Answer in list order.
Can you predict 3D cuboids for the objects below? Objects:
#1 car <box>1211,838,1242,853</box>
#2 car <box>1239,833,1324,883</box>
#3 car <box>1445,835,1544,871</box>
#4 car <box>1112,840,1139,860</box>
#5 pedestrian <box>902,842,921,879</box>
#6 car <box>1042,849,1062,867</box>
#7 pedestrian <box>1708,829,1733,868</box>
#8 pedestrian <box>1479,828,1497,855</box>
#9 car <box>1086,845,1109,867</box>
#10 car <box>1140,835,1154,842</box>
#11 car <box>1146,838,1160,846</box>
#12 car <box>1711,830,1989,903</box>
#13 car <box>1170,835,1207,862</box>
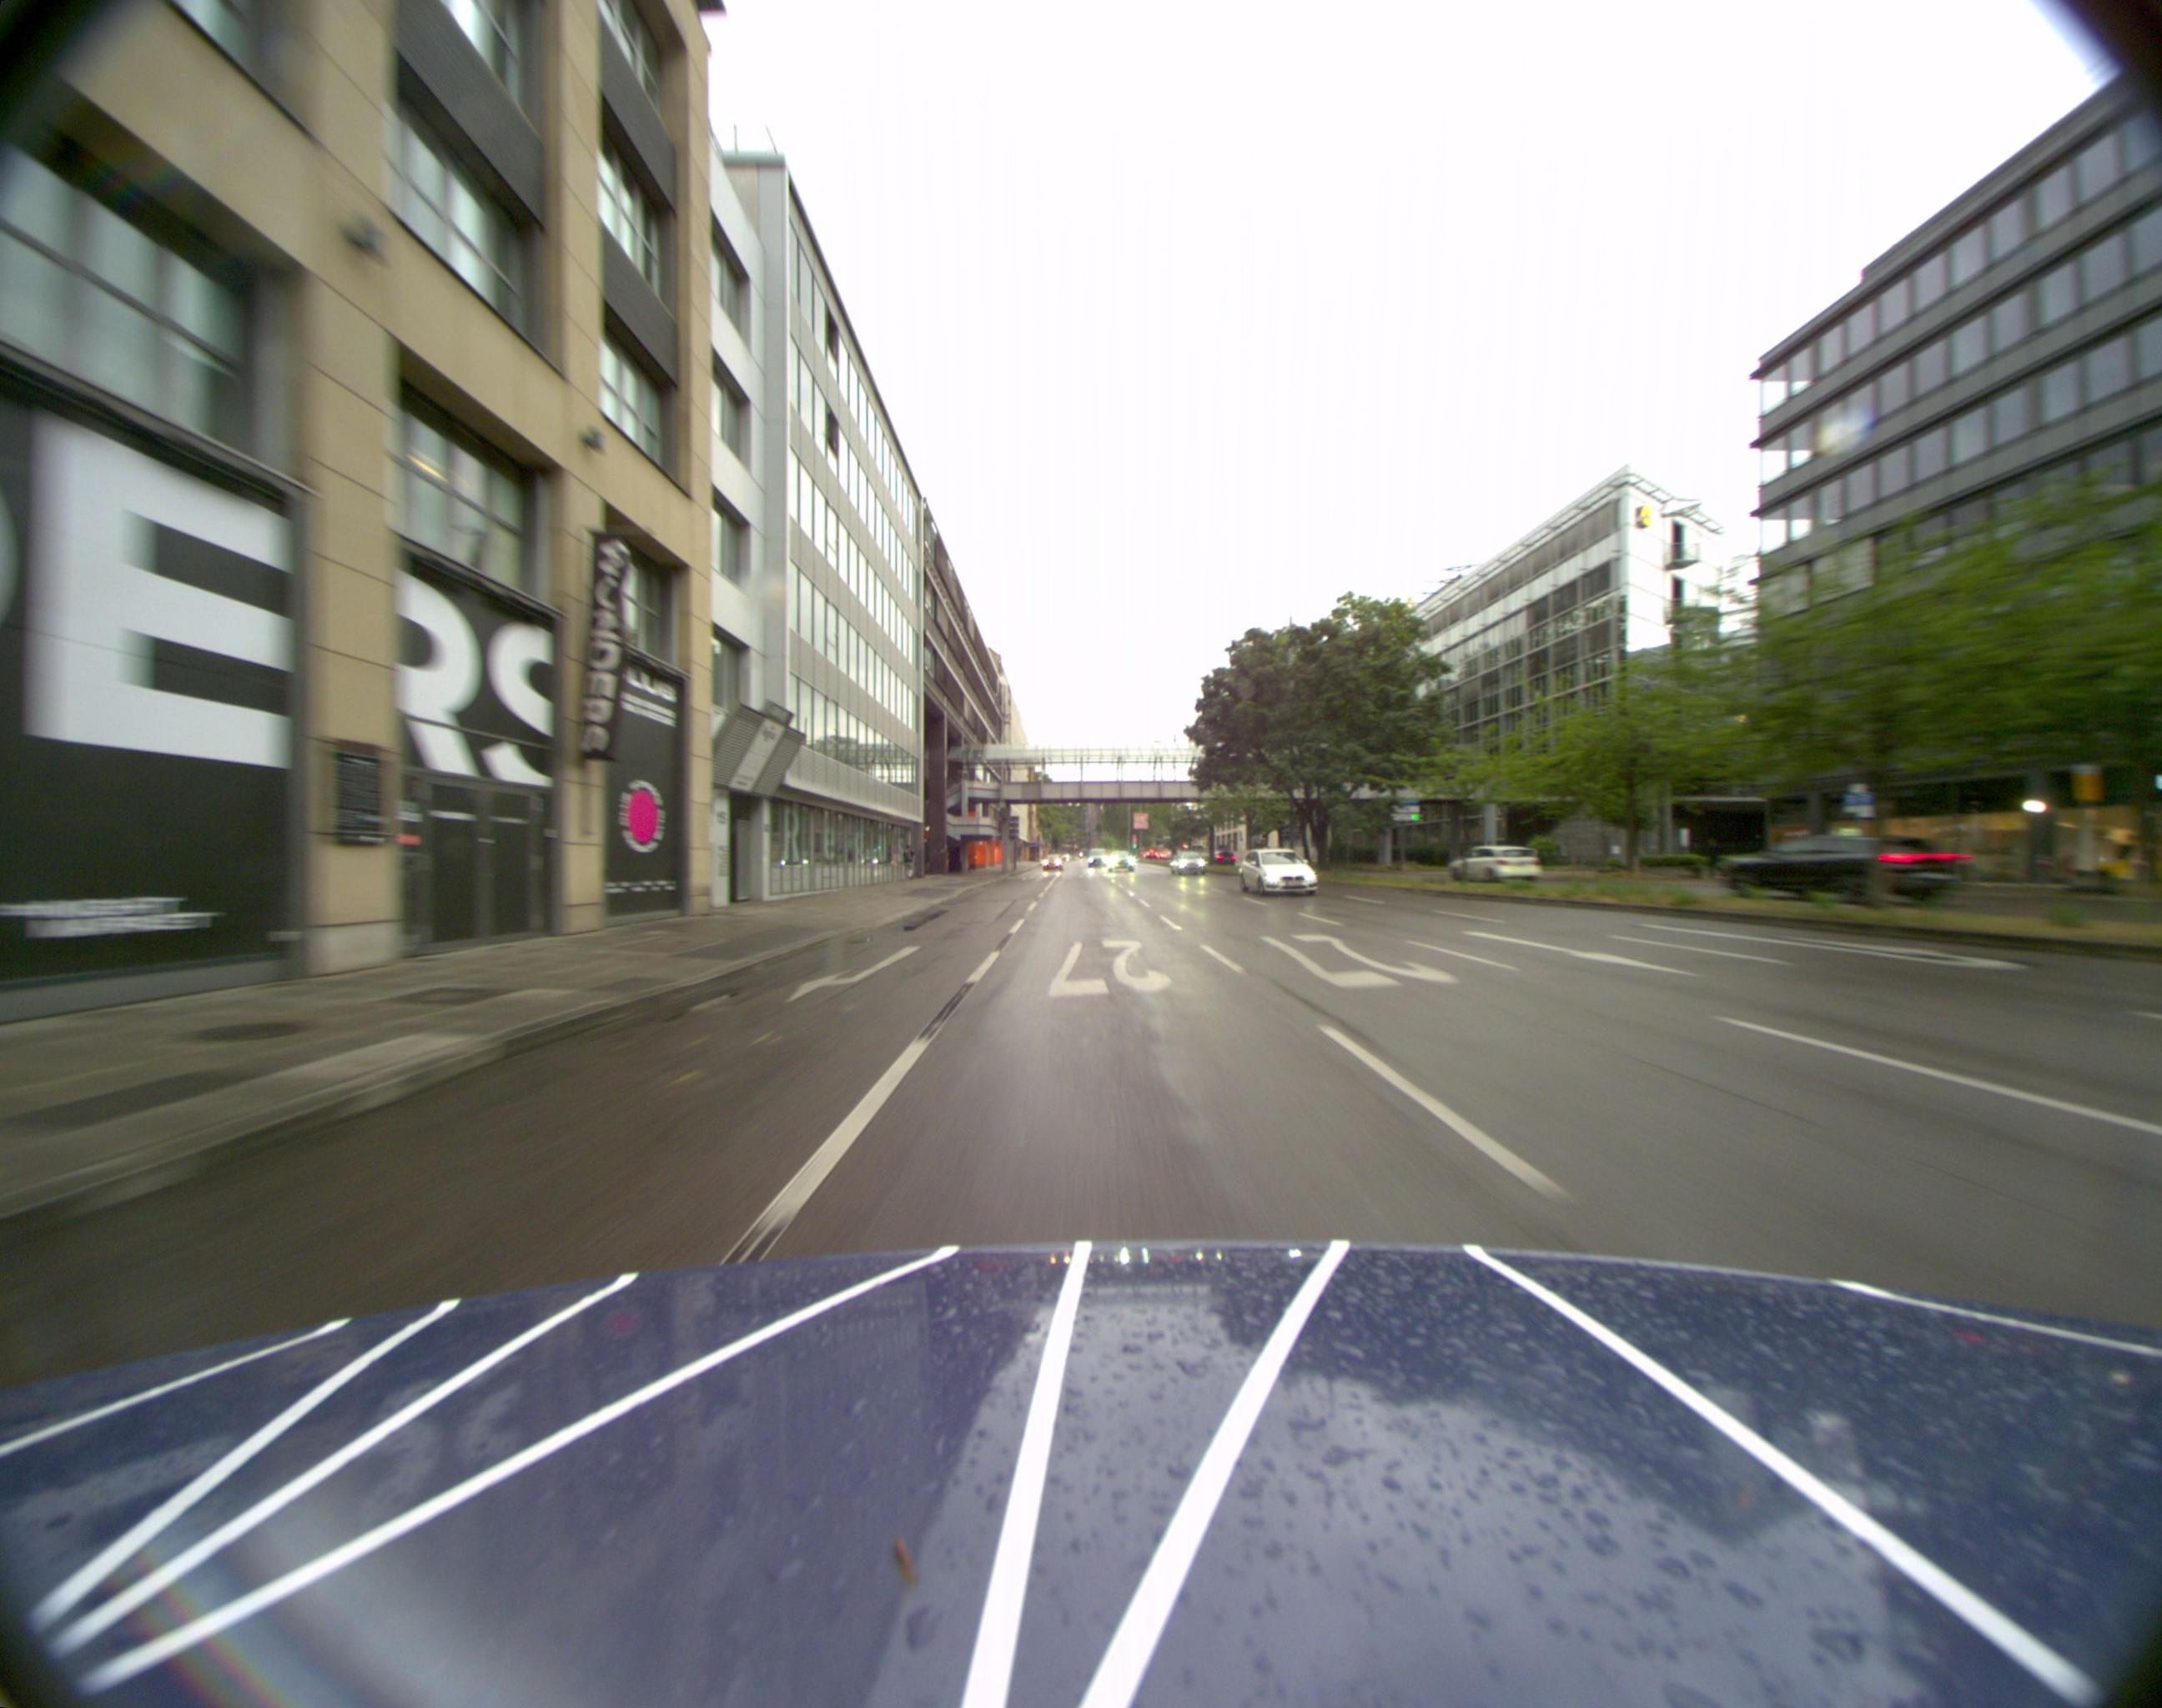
[{"bbox_3d":[12.994,-0.769,68.169,1.732,1.303,4.075,-1,1,-4],"label":"car"},{"bbox_3d":[6.824,0.088,26.298,1.788,1.565,4.286,-1,1,-1],"label":"car"},{"bbox_3d":[17.516,-0.092,32.410,1.732,1.426,4.310,-1,1,-2],"label":"car"},{"bbox_3d":[3.389,-0.338,58.840,1.941,1.427,4.287,-1,1,1],"label":"car"},{"bbox_3d":[-8.452,0.324,37.813,0.729,1.822,0.764,-1,2,0],"label":"pedestrian"},{"bbox_3d":[-2.640,0.336,68.914,1.666,1.464,3.482,-1,1,-1],"label":"car"},{"bbox_3d":[29.959,-0.248,35.616,0.731,1.806,0.762,-2,1,-38],"label":"pedestrian"},{"bbox_3d":[28.351,-0.871,52.938,0.729,1.822,0.924,-2,2,0],"label":"pedestrian"},{"bbox_3d":[1.632,0.188,76.922,2.162,2.014,5.040,-1,1,1],"label":"car"},{"bbox_3d":[11.864,-2.798,136.732,1.732,1.303,4.074,-1,1,-4],"label":"car"},{"bbox_3d":[12.343,-2.090,130.184,1.732,1.303,4.075,-1,1,-4],"label":"car"},{"bbox_3d":[18.141,0.209,18.342,1.813,1.508,4.715,-1,1,-2],"label":"car"},{"bbox_3d":[6.685,-0.384,47.669,1.788,1.565,3.690,-1,1,0],"label":"car"}]
